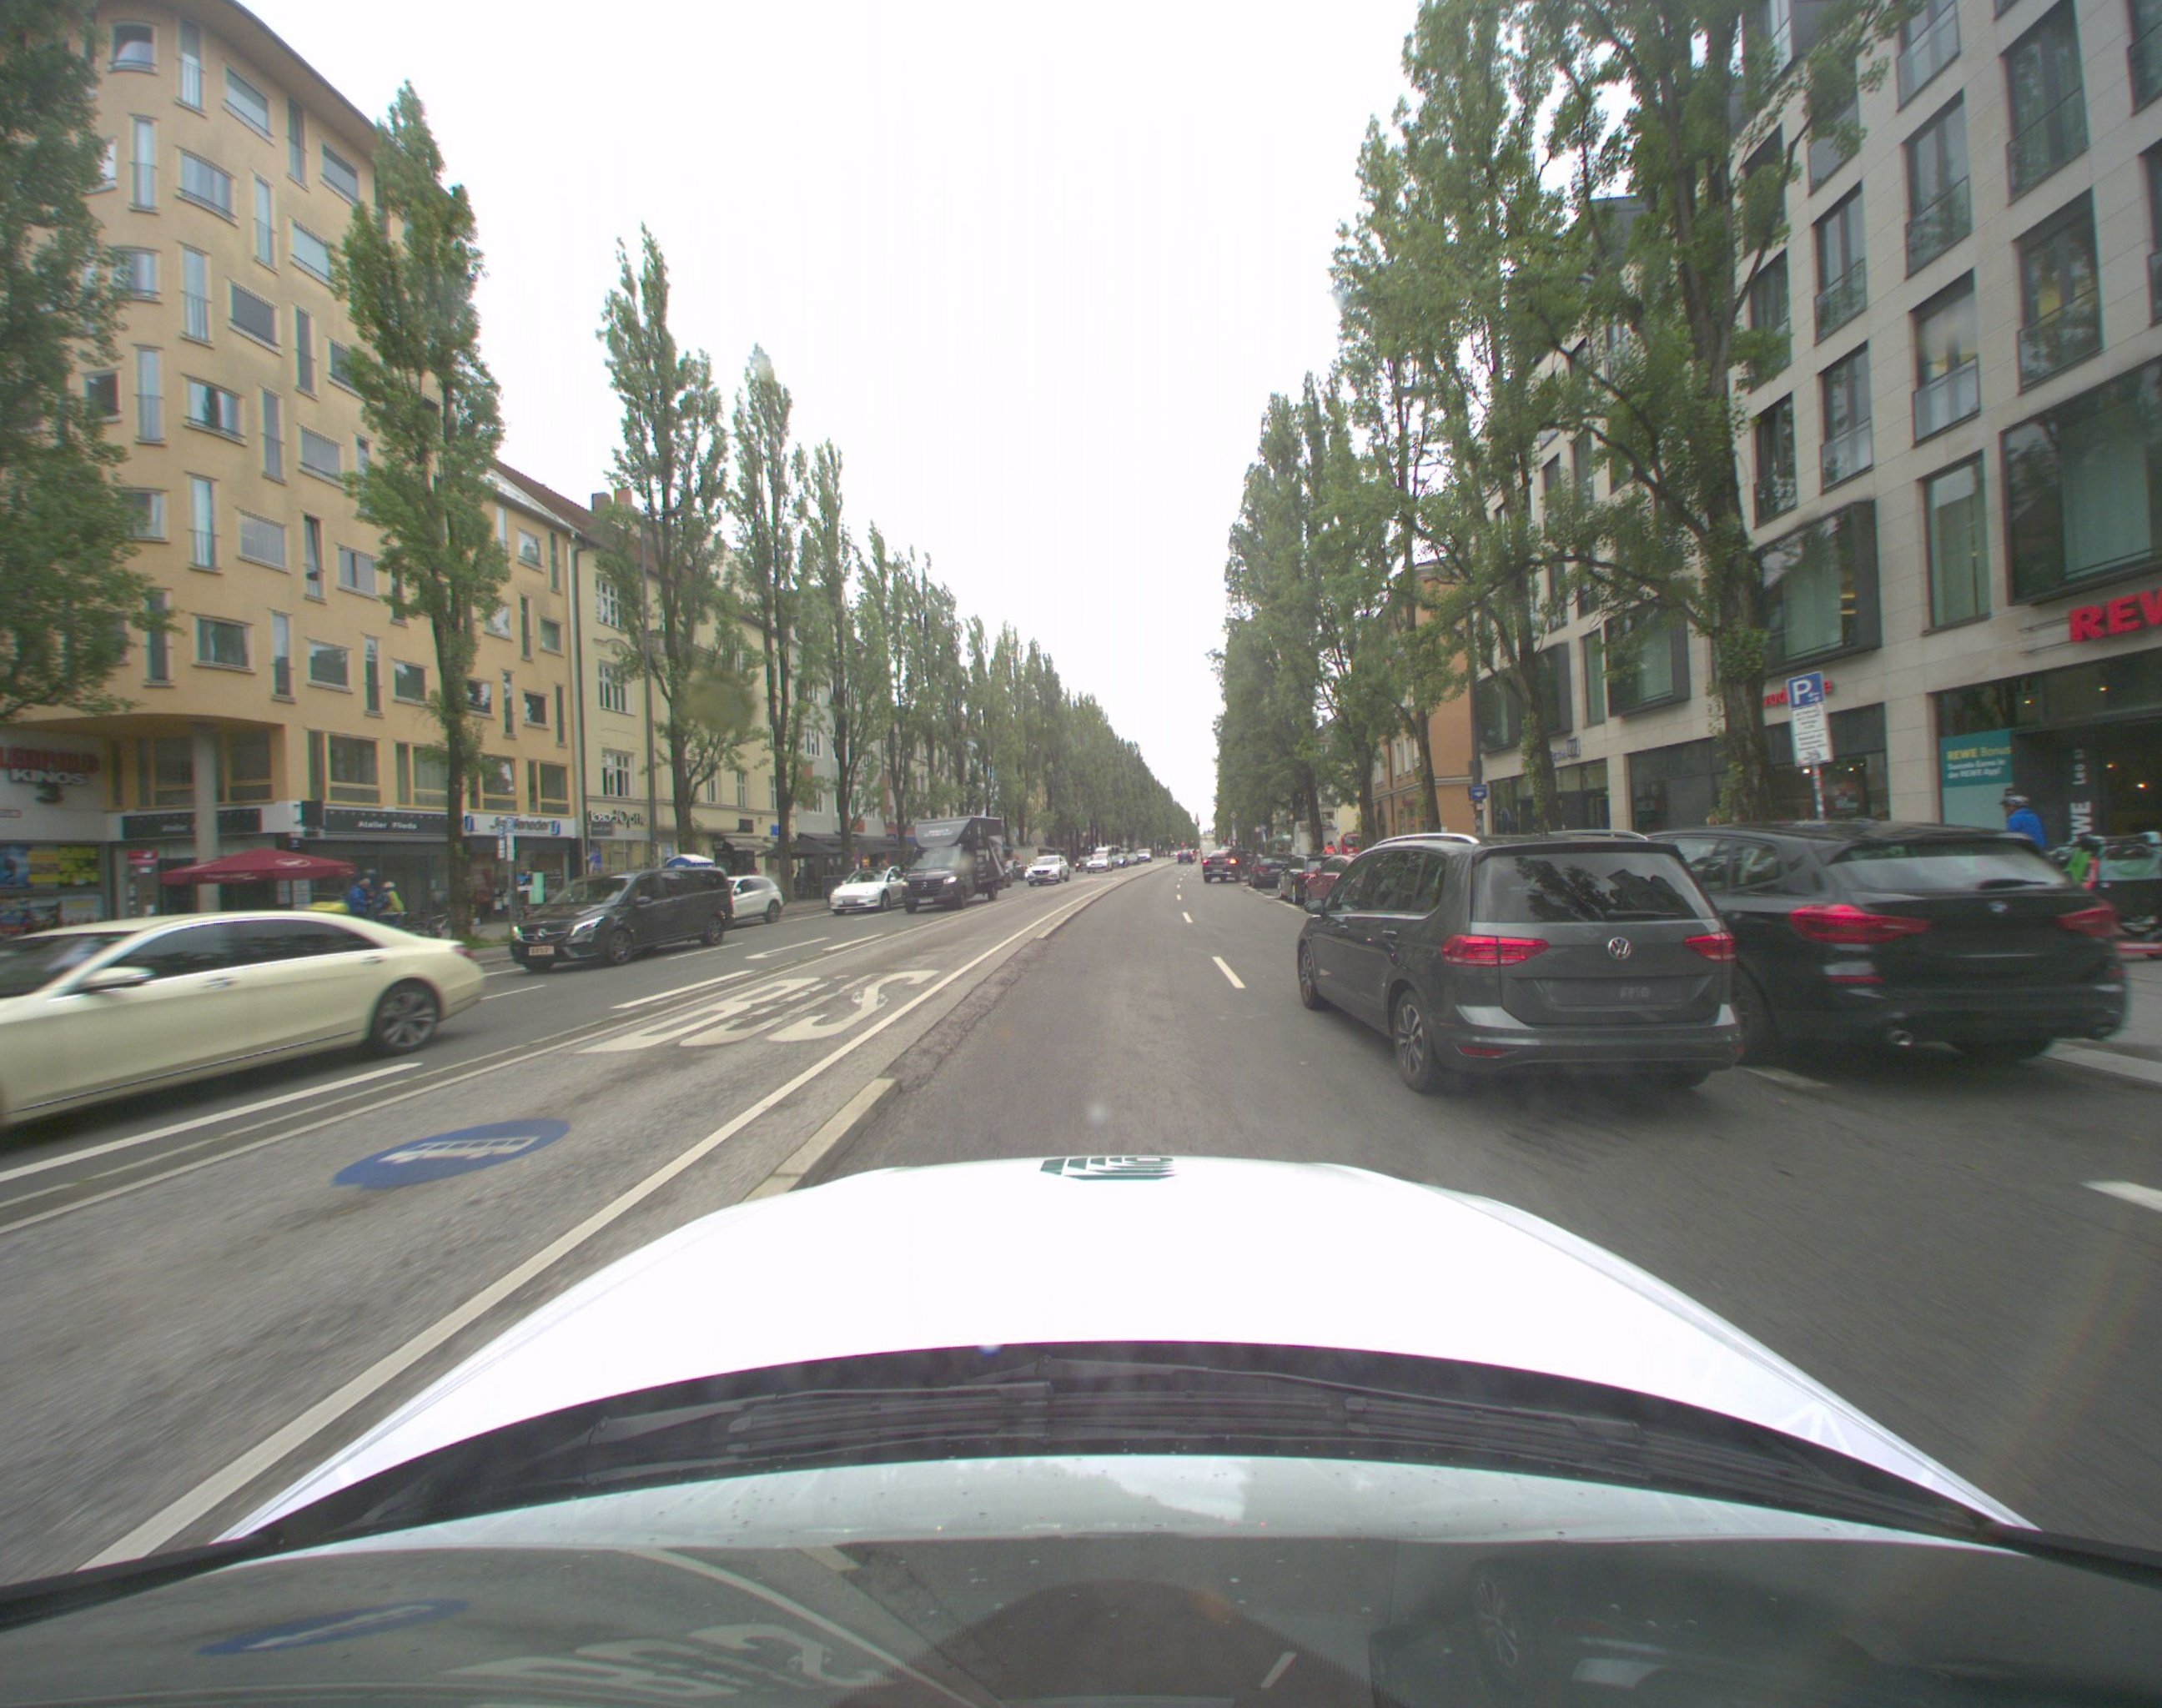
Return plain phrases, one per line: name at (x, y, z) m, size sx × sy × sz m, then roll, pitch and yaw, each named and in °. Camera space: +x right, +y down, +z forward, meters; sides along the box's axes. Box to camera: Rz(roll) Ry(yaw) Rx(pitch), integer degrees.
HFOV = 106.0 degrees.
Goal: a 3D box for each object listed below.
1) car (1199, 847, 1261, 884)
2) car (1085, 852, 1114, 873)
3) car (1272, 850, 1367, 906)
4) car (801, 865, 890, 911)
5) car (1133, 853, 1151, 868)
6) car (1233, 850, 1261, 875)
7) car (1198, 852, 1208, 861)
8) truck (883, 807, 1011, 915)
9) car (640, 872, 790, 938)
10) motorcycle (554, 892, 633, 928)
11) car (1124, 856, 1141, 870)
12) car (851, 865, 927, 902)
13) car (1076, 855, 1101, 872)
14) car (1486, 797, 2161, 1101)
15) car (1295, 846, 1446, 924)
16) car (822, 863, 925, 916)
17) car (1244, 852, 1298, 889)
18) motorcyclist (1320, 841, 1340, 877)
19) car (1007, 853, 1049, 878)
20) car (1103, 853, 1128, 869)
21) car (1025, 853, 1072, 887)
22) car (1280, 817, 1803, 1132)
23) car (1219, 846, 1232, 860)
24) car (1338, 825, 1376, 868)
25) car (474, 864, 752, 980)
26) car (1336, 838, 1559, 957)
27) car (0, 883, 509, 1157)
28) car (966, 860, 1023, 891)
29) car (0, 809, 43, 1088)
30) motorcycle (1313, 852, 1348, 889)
car at (7.692, 0.559, 41.672) m, size 1.863 × 1.642 × 4.610 m, roll -3°, pitch 0°, yaw 26°
car at (1.638, 0.746, 71.620) m, size 1.928 × 1.642 × 4.474 m, roll -3°, pitch 0°, yaw 8°
car at (6.852, 0.637, 23.872) m, size 1.838 × 1.428 × 4.432 m, roll -2°, pitch 0°, yaw 5°
car at (-9.707, 1.376, 33.905) m, size 1.851 × 1.629 × 4.179 m, roll -3°, pitch 0°, yaw 9°
car at (8.751, 0.881, 116.224) m, size 1.982 × 1.934 × 4.930 m, roll -5°, pitch -1°, yaw 9°
car at (11.690, 0.561, 57.528) m, size 1.614 × 1.565 × 4.381 m, roll -3°, pitch 0°, yaw 8°
car at (18.170, 0.364, 121.382) m, size 1.495 × 1.313 × 3.291 m, roll -3°, pitch 0°, yaw 9°
truck at (-4.611, 0.214, 29.593) m, size 2.278 × 3.322 × 7.174 m, roll -4°, pitch 0°, yaw 8°
car at (-11.085, 1.488, 25.053) m, size 1.981 × 1.629 × 4.394 m, roll -3°, pitch 0°, yaw 10°
motorcycle at (-15.414, 1.768, 25.786) m, size 2.057 × 1.036 × 0.484 m, roll -1°, pitch -1°, yaw -12°
car at (6.134, 1.061, 97.070) m, size 1.702 × 1.414 × 3.731 m, roll -3°, pitch 0°, yaw 8°
car at (-9.053, 1.352, 38.736) m, size 1.928 × 1.493 × 4.307 m, roll -3°, pitch 0°, yaw 9°
car at (0.818, 0.994, 81.887) m, size 1.838 × 1.564 × 4.222 m, roll -3°, pitch -1°, yaw 9°
car at (5.426, 0.576, 6.945) m, size 1.916 × 1.700 × 4.656 m, roll -1°, pitch -1°, yaw 5°
car at (6.389, 0.619, 18.620) m, size 1.922 × 1.450 × 4.808 m, roll -3°, pitch 0°, yaw 3°
car at (-7.624, 1.247, 30.410) m, size 1.982 × 1.651 × 4.647 m, roll -4°, pitch 0°, yaw 8°
car at (8.061, 0.657, 34.919) m, size 1.724 × 1.394 × 4.441 m, roll -3°, pitch 0°, yaw 7°
motorcyclist at (10.142, 0.194, 33.180) m, size 0.561 × 1.406 × 0.767 m, roll -4°, pitch 0°, yaw 5°
car at (-3.567, 0.741, 55.758) m, size 1.928 × 1.493 × 4.467 m, roll -3°, pitch 0°, yaw 8°
car at (3.656, 0.721, 85.199) m, size 1.982 × 1.432 × 4.783 m, roll -4°, pitch 0°, yaw 8°
car at (-1.826, 0.893, 47.309) m, size 1.850 × 1.711 × 4.547 m, roll -4°, pitch 0°, yaw 8°
car at (2.955, 0.642, 6.414) m, size 1.755 × 1.613 × 4.184 m, roll -2°, pitch 0°, yaw 1°
car at (21.746, -0.076, 122.875) m, size 1.794 × 1.992 × 4.009 m, roll -1°, pitch -1°, yaw 9°
car at (16.307, -0.471, 47.984) m, size 1.885 × 2.328 × 4.850 m, roll -3°, pitch 0°, yaw 20°
car at (-9.636, 1.285, 17.583) m, size 1.982 × 1.863 × 5.724 m, roll -5°, pitch 0°, yaw 8°
car at (5.699, 0.586, 13.417) m, size 1.802 × 1.500 × 4.812 m, roll -3°, pitch 0°, yaw 5°
car at (-7.760, 1.205, 6.679) m, size 1.983 × 1.589 × 5.204 m, roll -4°, pitch 0°, yaw 6°
car at (-4.739, 1.163, 45.244) m, size 1.928 × 1.434 × 4.551 m, roll -3°, pitch 0°, yaw 10°
car at (-11.778, 0.959, 5.103) m, size 2.155 × 2.605 × 6.085 m, roll -3°, pitch 0°, yaw 13°
motorcycle at (10.127, 0.648, 33.099) m, size 0.822 × 1.370 × 2.256 m, roll -4°, pitch 0°, yaw 5°
